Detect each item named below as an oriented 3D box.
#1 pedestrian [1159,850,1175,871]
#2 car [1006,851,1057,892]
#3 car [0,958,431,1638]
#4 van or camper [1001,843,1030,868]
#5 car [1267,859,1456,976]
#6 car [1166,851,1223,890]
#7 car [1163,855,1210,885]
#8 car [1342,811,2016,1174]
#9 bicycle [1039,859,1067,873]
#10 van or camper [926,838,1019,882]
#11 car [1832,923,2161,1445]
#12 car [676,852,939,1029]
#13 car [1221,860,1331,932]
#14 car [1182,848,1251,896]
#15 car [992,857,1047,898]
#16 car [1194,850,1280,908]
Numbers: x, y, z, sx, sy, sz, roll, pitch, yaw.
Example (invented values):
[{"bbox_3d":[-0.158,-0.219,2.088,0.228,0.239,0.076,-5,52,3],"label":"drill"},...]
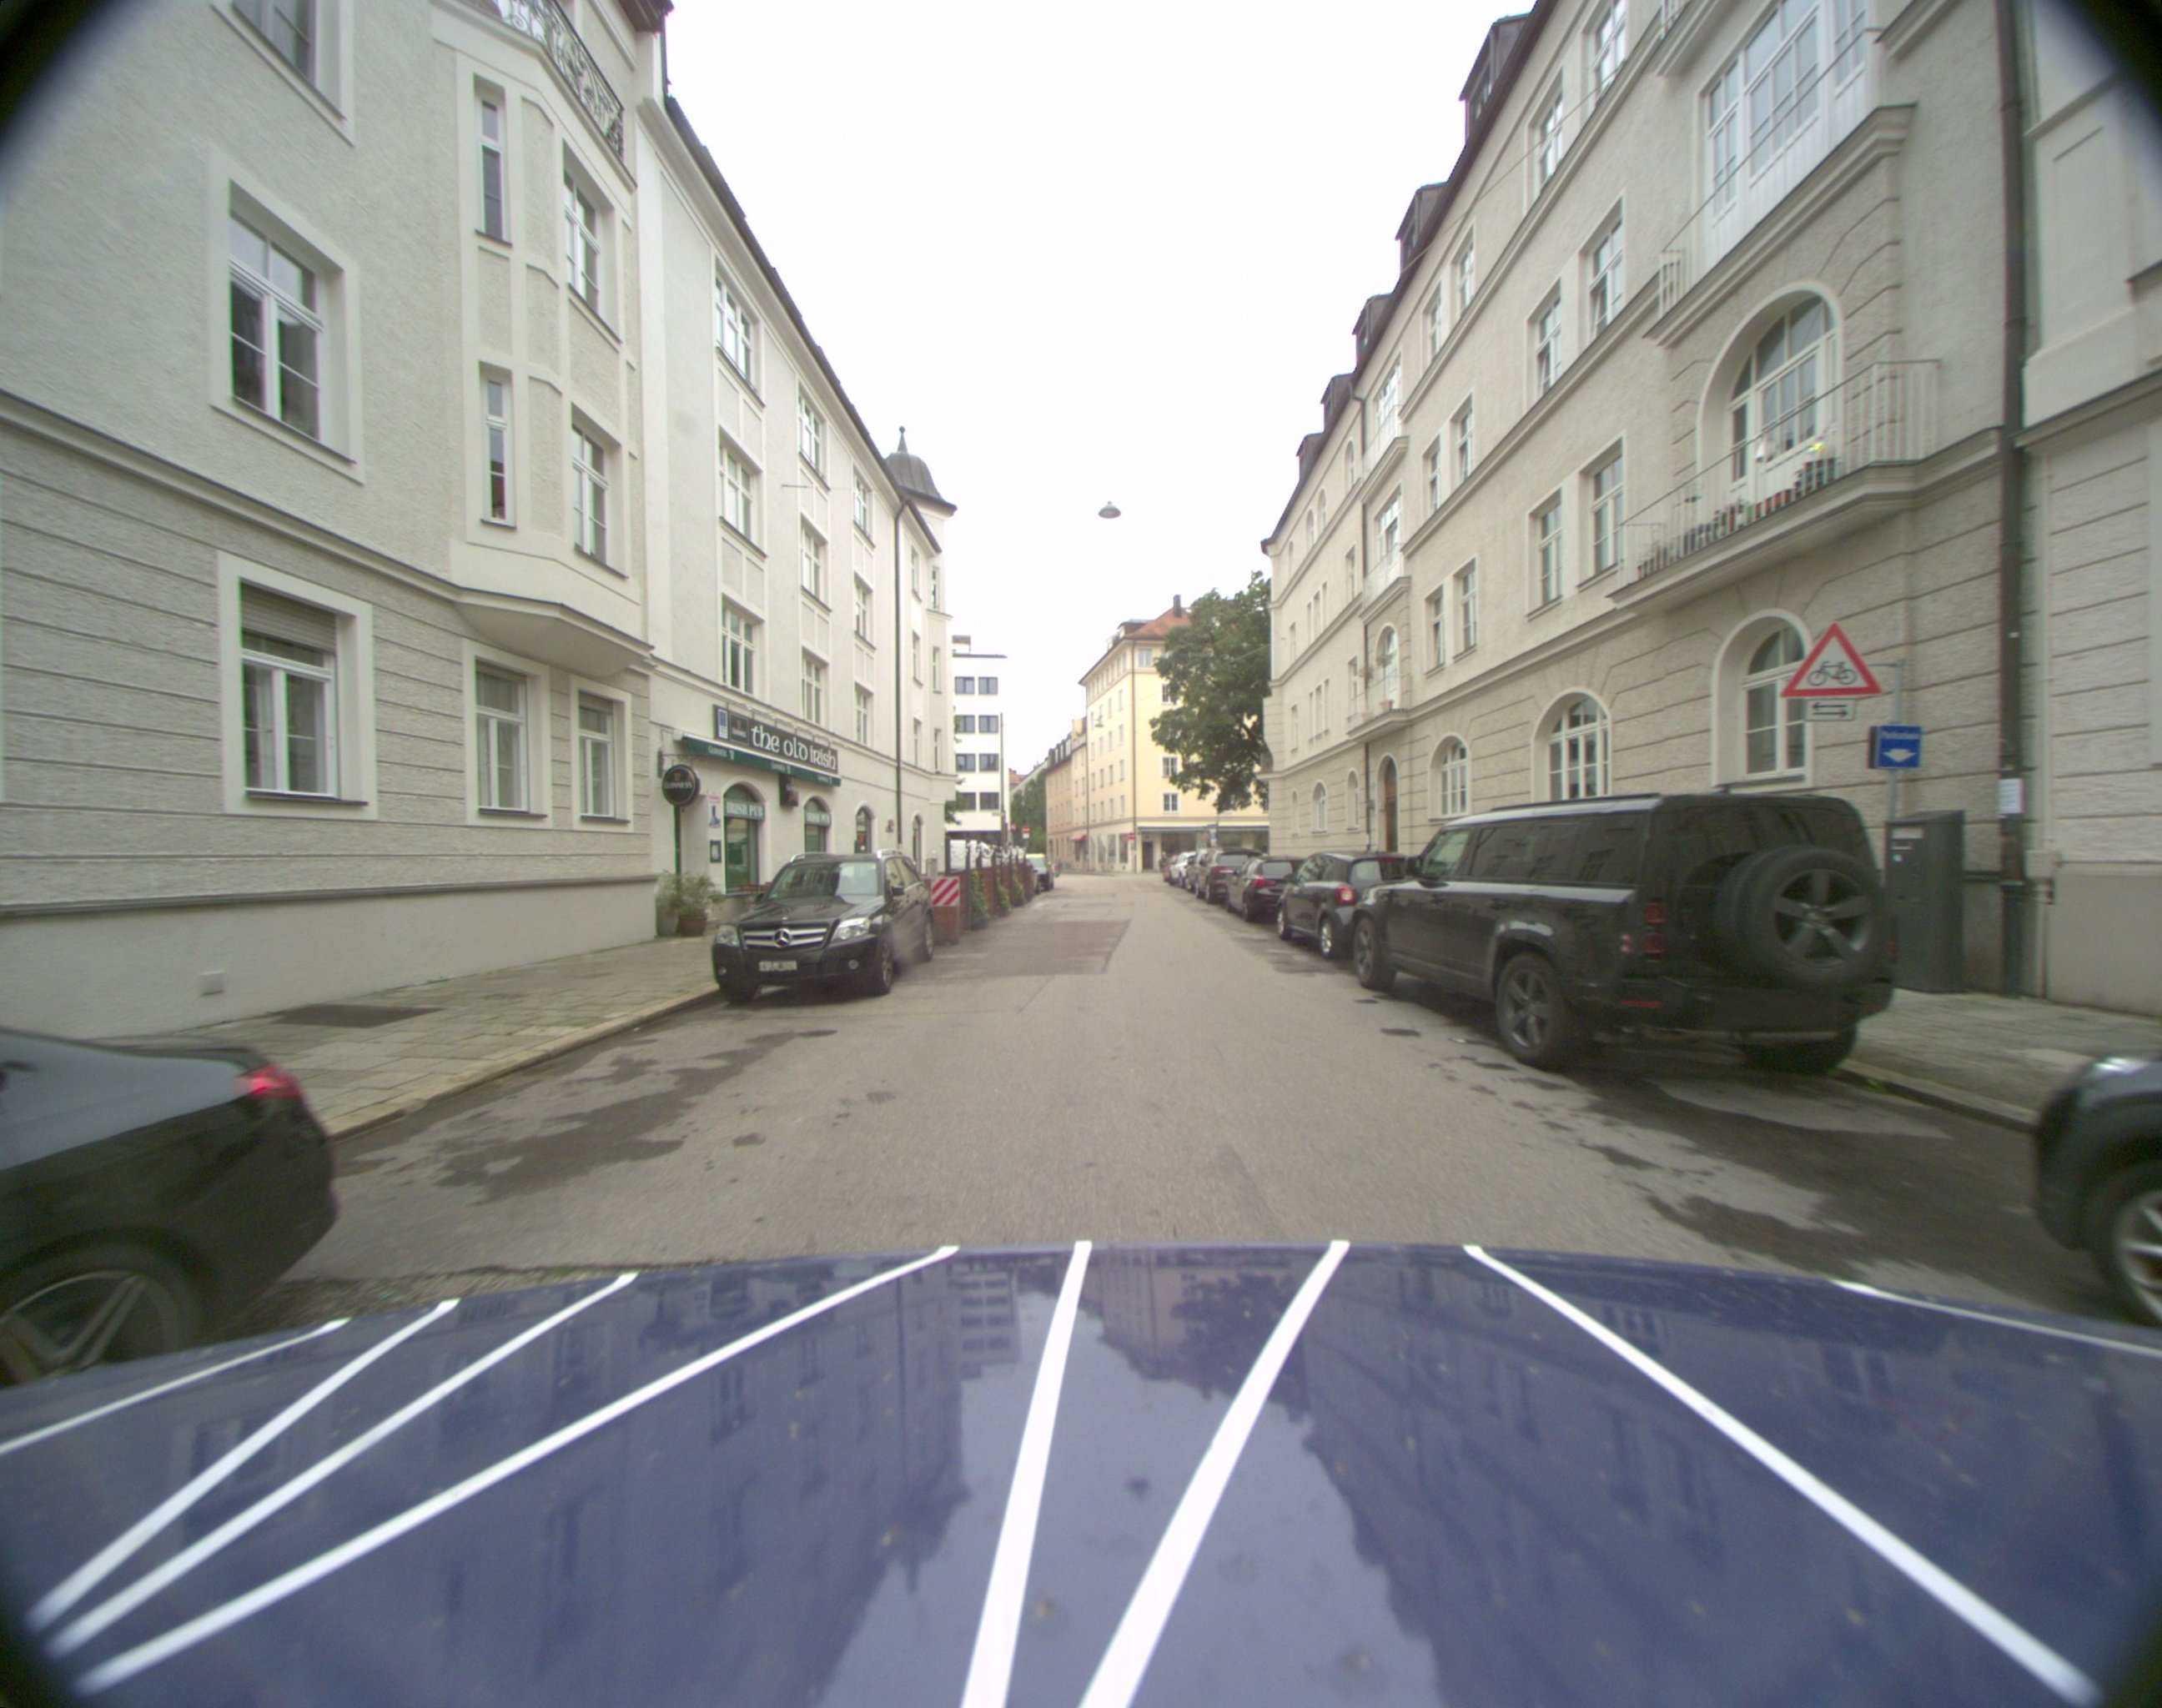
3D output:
[{"bbox_3d":[6.721,0.531,59.393,0.920,1.601,0.777,-1,1,31],"label":"pedestrian"},{"bbox_3d":[-2.139,0.716,33.882,1.841,1.609,4.094,-3,0,2],"label":"car"},{"bbox_3d":[-3.340,1.137,0.435,1.841,1.391,4.972,-3,0,-4],"label":"car"},{"bbox_3d":[-6.749,0.141,77.982,1.968,2.494,5.716,-1,0,-14],"label":"van or camper"},{"bbox_3d":[4.157,0.861,11.858,1.620,1.504,3.531,0,0,0],"label":"car"},{"bbox_3d":[4.932,0.663,33.441,1.699,1.559,3.949,-1,1,-3],"label":"car"},{"bbox_3d":[5.233,0.751,38.239,1.685,1.385,4.478,0,0,-1],"label":"car"},{"bbox_3d":[3.967,0.729,6.382,1.841,1.883,4.762,1,0,-1],"label":"car"},{"bbox_3d":[-2.174,0.909,57.918,1.995,0.958,0.973,-1,0,-11],"label":"bicycle"},{"bbox_3d":[-7.119,0.412,50.064,5.870,2.697,2.304,-1,-2,-7],"label":"van or camper"},{"bbox_3d":[3.972,0.997,0.963,1.841,1.386,4.244,1,0,1],"label":"car"},{"bbox_3d":[-3.119,0.860,9.702,1.805,1.665,4.188,-3,0,-1],"label":"car"},{"bbox_3d":[4.369,0.875,17.606,1.658,1.399,4.092,0,1,3],"label":"car"},{"bbox_3d":[5.045,0.623,28.863,1.841,1.668,4.212,-1,0,0],"label":"car"},{"bbox_3d":[-2.313,0.862,29.458,1.670,1.392,3.492,-3,0,2],"label":"car"},{"bbox_3d":[4.614,0.684,23.136,1.880,1.590,4.434,-1,0,3],"label":"car"}]
